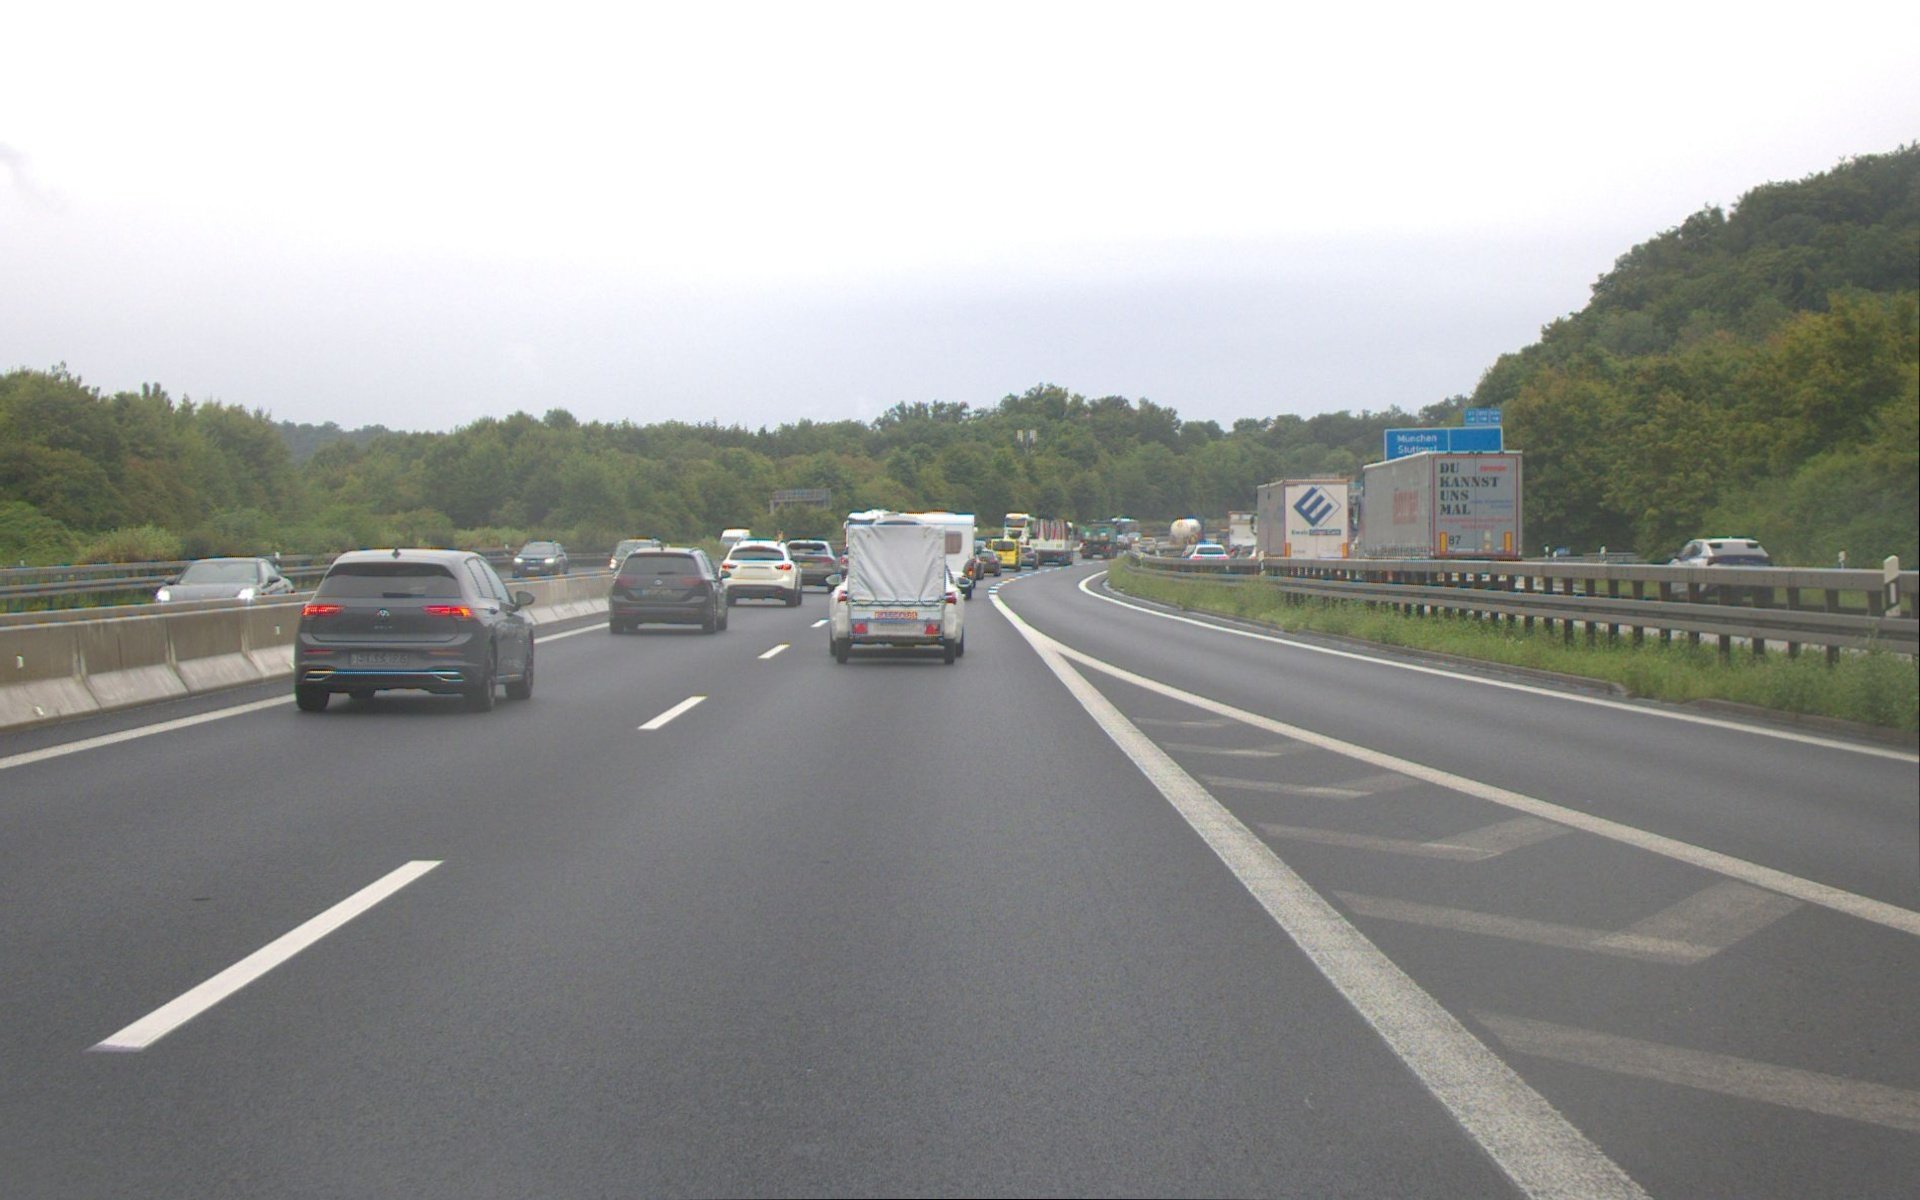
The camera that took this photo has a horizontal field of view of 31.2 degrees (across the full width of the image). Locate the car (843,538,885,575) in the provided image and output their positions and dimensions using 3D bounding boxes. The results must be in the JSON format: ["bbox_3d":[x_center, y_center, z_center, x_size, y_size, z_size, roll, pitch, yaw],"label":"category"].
[{"bbox_3d":[-4.374,-2.000,157.445,1.775,1.634,4.043,1,1,0],"label":"car"}]

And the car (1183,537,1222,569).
[{"bbox_3d":[11.186,-2.160,158.773,1.676,1.451,4.000,1,1,3],"label":"car"}]

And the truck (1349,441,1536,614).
[{"bbox_3d":[13.772,-2.026,99.400,3.215,4.650,13.033,1,1,-1],"label":"truck"}]

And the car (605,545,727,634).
[{"bbox_3d":[-5.010,-0.194,58.998,1.765,1.451,4.000,1,1,0],"label":"car"}]

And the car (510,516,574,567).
[{"bbox_3d":[-16.821,-2.341,138.518,1.993,2.007,4.983,1,1,0],"label":"car"}]

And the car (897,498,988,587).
[{"bbox_3d":[-0.500,-1.727,104.449,2.507,2.576,5.699,1,1,2],"label":"car"}]

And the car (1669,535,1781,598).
[{"bbox_3d":[18.211,-0.803,82.009,1.675,1.451,4.000,1,1,-1],"label":"car"}]

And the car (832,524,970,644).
[{"bbox_3d":[-0.794,-0.242,48.883,1.818,1.610,4.778,1,1,0],"label":"car"}]

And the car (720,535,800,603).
[{"bbox_3d":[-4.966,-0.774,85.838,1.775,1.634,4.043,1,1,0],"label":"car"}]

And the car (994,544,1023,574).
[{"bbox_3d":[2.956,-2.502,210.497,1.676,1.806,4.000,1,1,2],"label":"car"}]

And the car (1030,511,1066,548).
[{"bbox_3d":[6.403,-5.084,248.751,2.516,2.566,5.312,1,1,2],"label":"car"}]

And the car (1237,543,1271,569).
[{"bbox_3d":[16.787,-2.501,196.428,1.676,1.451,4.000,1,1,1],"label":"car"}]

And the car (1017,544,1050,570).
[{"bbox_3d":[4.802,-2.794,224.212,2.037,1.677,4.000,1,1,2],"label":"car"}]

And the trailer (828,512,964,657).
[{"bbox_3d":[-0.804,-0.213,45.366,1.676,1.806,4.000,1,1,0],"label":"trailer"}]

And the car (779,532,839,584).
[{"bbox_3d":[-4.896,-1.364,112.099,1.775,1.634,4.043,1,1,0],"label":"car"}]

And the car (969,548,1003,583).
[{"bbox_3d":[1.416,-1.854,183.092,1.676,1.806,4.000,1,1,2],"label":"car"}]

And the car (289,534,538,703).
[{"bbox_3d":[-5.008,0.138,31.958,1.676,1.451,4.000,1,1,0],"label":"car"}]

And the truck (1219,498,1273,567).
[{"bbox_3d":[20.134,-4.690,241.918,3.663,4.650,13.030,1,1,5],"label":"truck"}]

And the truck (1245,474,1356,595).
[{"bbox_3d":[13.751,-2.619,139.907,3.215,4.650,13.033,1,1,0],"label":"truck"}]

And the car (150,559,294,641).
[{"bbox_3d":[-13.746,-0.029,64.246,1.756,1.451,4.418,1,1,0],"label":"car"}]
